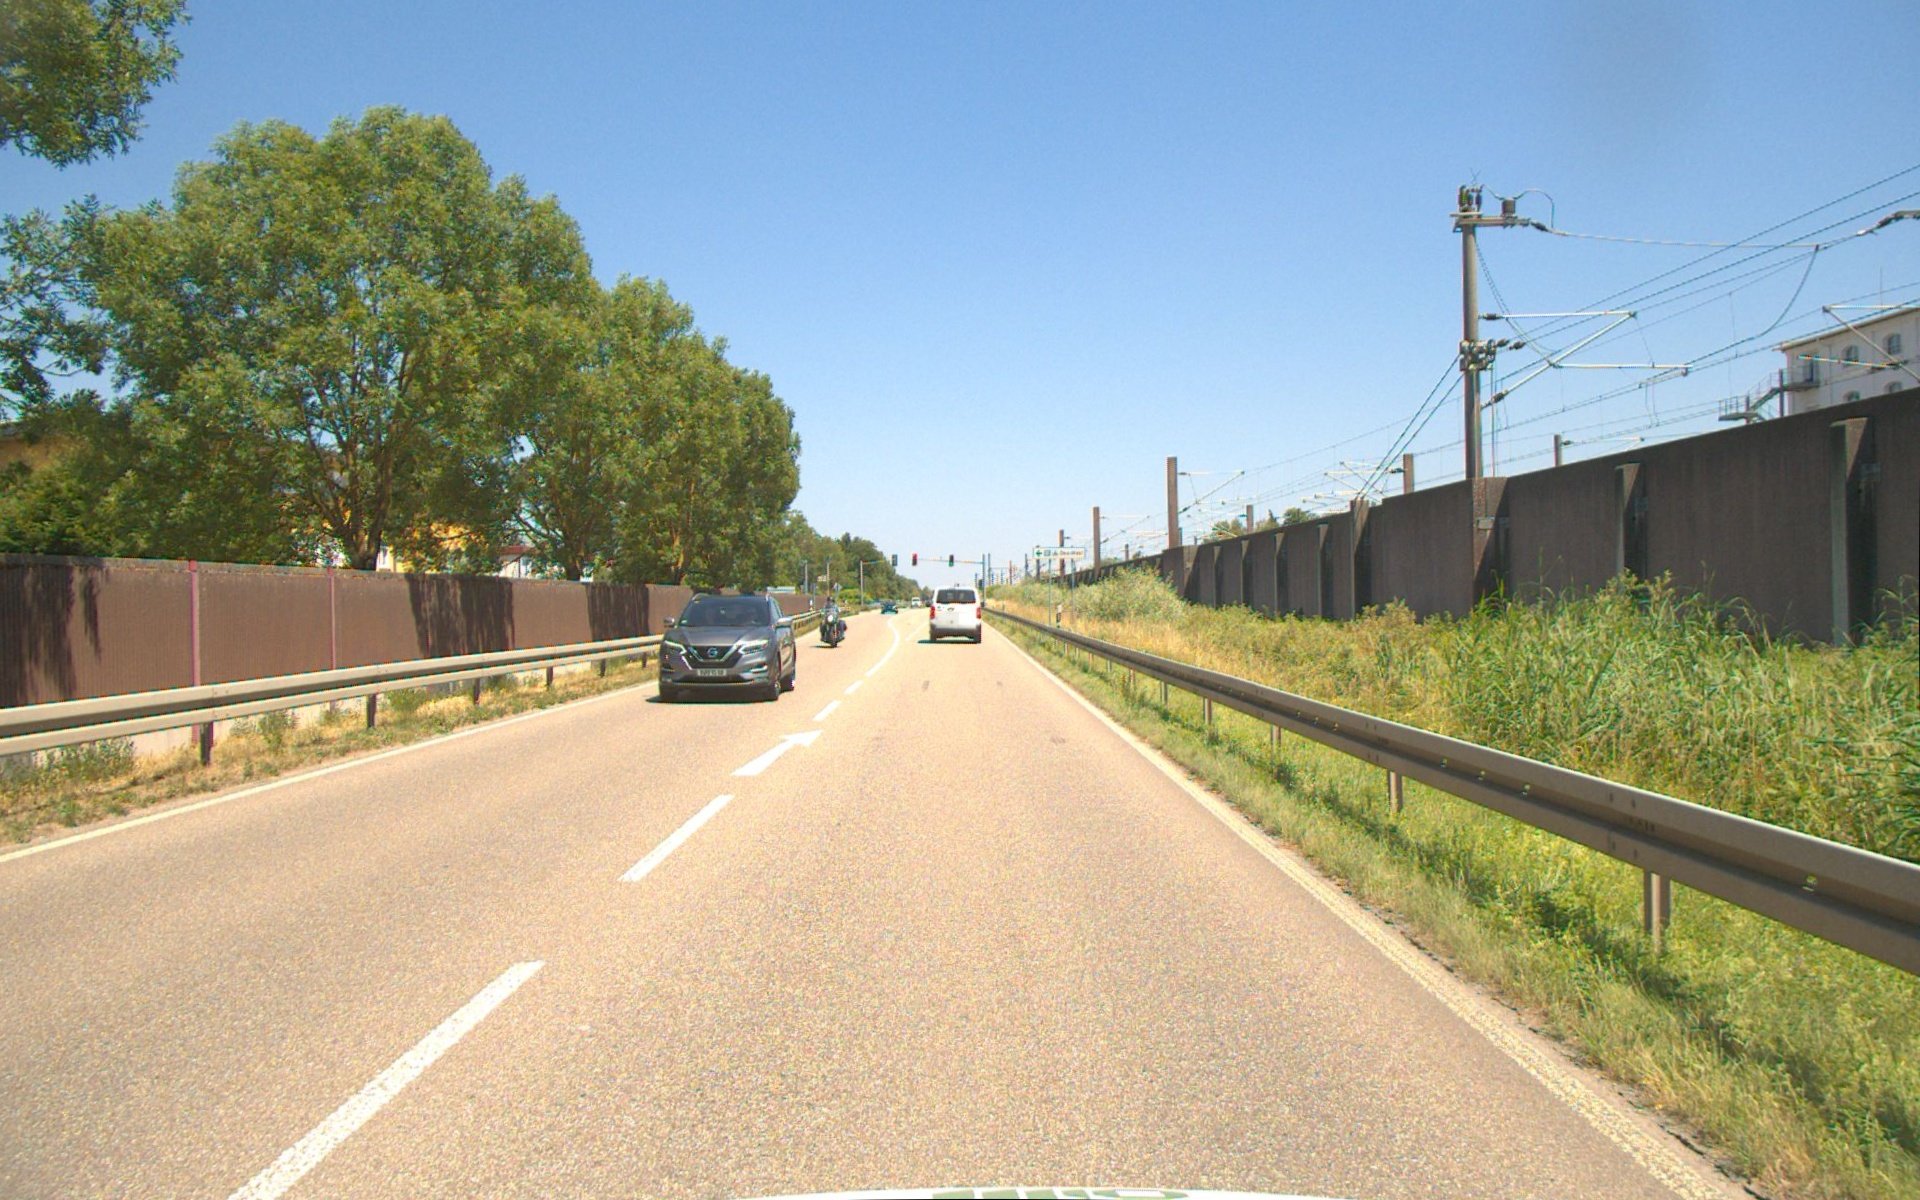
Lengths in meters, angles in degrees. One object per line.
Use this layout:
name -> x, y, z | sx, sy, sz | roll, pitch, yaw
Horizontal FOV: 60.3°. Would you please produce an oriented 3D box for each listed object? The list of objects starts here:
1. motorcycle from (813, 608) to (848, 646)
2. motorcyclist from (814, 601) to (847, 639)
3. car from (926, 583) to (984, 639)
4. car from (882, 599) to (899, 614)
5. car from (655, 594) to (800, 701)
motorcycle -> -4.054, 0.847, 51.893 | 0.934, 1.127, 2.335 | 1, 0, -1
motorcyclist -> -4.060, 0.631, 51.905 | 0.918, 1.150, 0.927 | 2, 0, -1
car -> -0.184, 0.363, 58.492 | 1.953, 1.882, 4.000 | 1, 0, 0
car -> -7.592, 0.680, 179.992 | 1.783, 1.624, 3.999 | 1, 0, -2
car -> -3.583, 0.679, 26.183 | 1.753, 1.552, 4.389 | 0, 0, -1
